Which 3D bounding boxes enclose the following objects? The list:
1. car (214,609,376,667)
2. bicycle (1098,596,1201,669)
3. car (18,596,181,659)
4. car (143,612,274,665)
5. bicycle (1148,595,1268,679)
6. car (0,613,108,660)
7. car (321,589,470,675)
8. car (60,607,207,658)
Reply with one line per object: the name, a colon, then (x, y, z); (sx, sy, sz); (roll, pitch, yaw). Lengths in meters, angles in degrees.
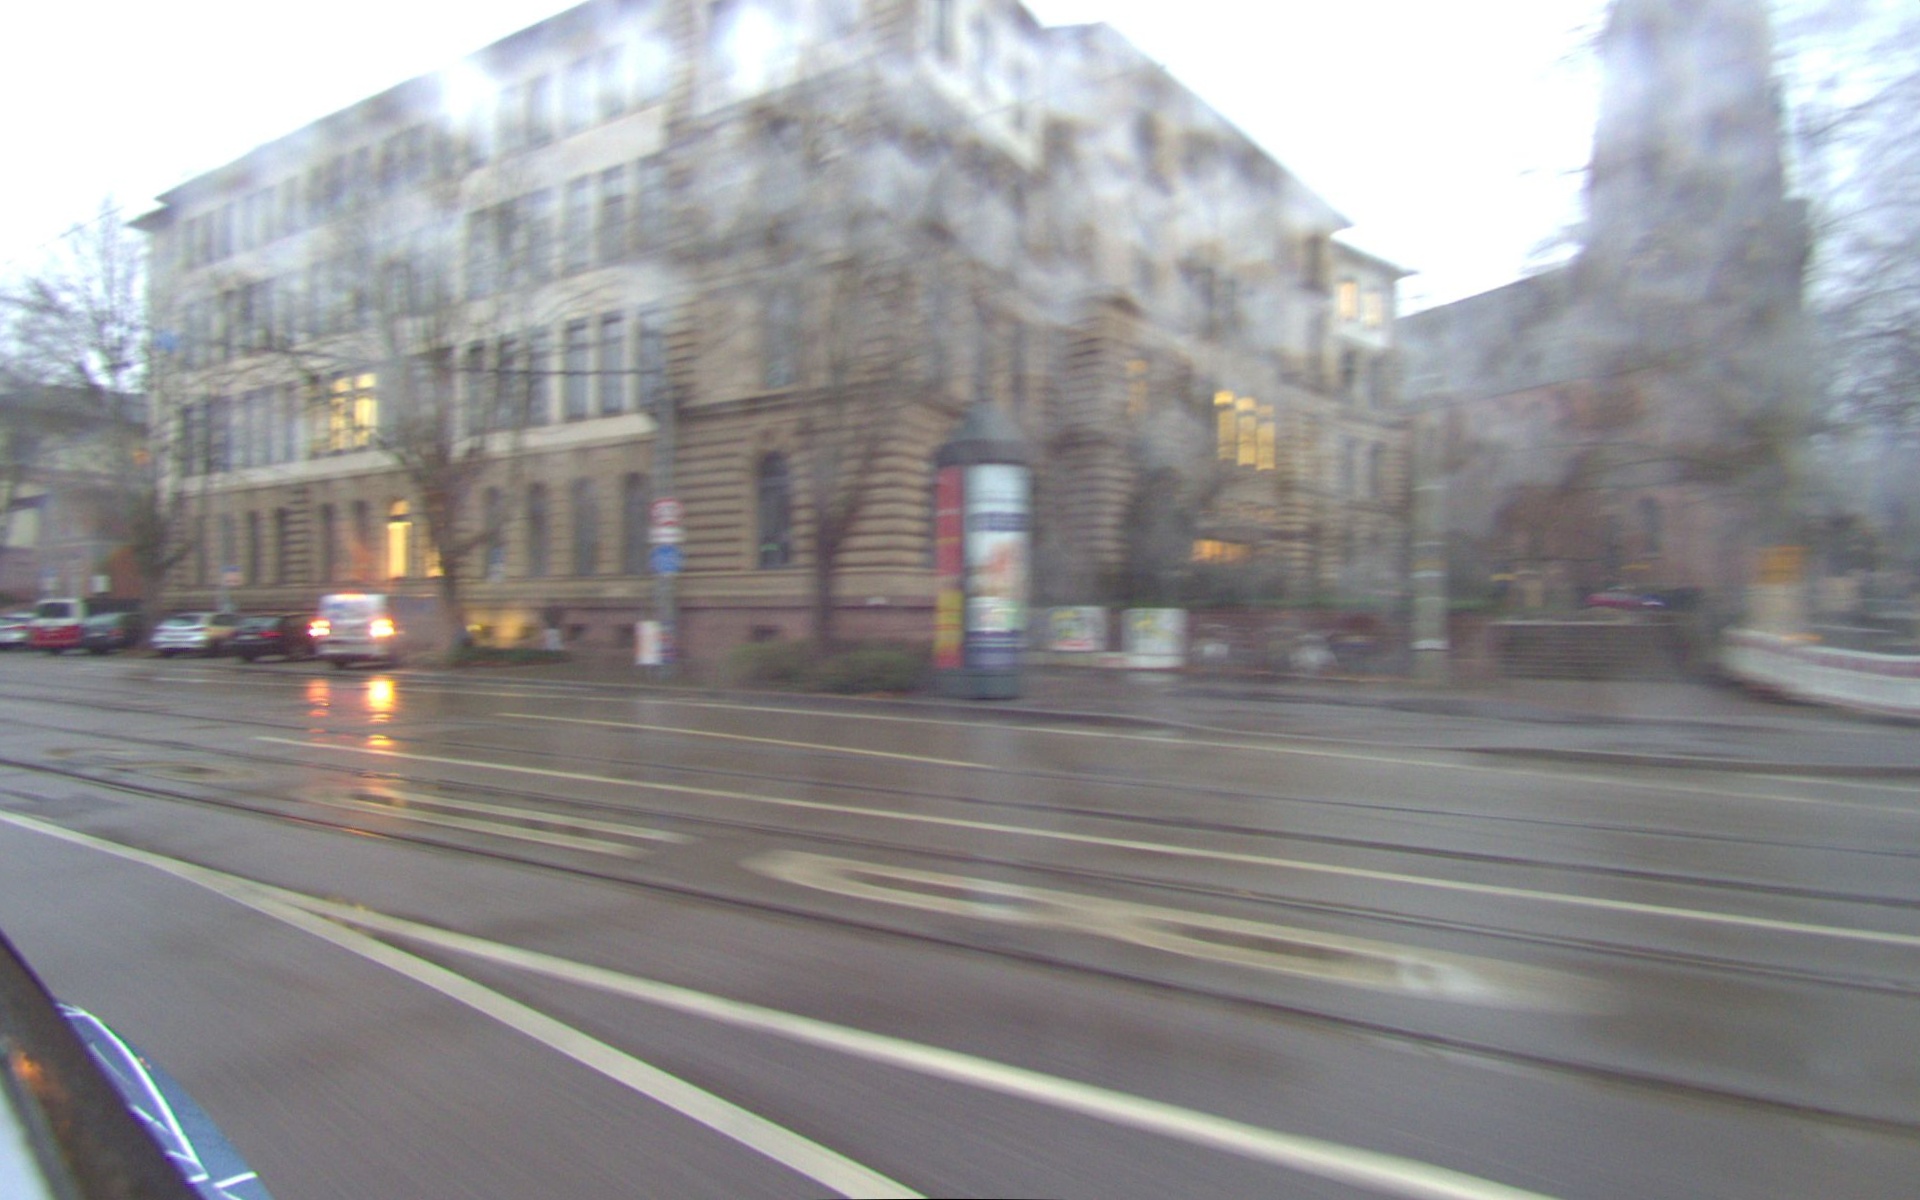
car: (-20.074, 1.094, 30.812); (1.777, 1.468, 4.472); (-1, 1, 4)
bicycle: (4.703, 0.791, 25.155); (2.390, 1.701, 0.715); (-1, 1, -8)
car: (-31.666, 0.953, 37.464); (1.940, 2.069, 4.618); (-1, 1, 3)
car: (-24.607, 1.213, 33.313); (1.613, 1.468, 3.830); (-1, 1, -3)
bicycle: (5.343, 0.783, 21.823); (2.390, 1.701, 0.715); (-1, 1, -8)
car: (-36.711, 1.426, 40.449); (1.751, 1.602, 4.184); (-1, 1, 1)
car: (-15.317, 0.780, 27.787); (1.883, 2.049, 4.812); (-1, 1, -7)
car: (-28.999, 1.112, 35.687); (1.799, 1.551, 3.974); (-1, 1, 3)
